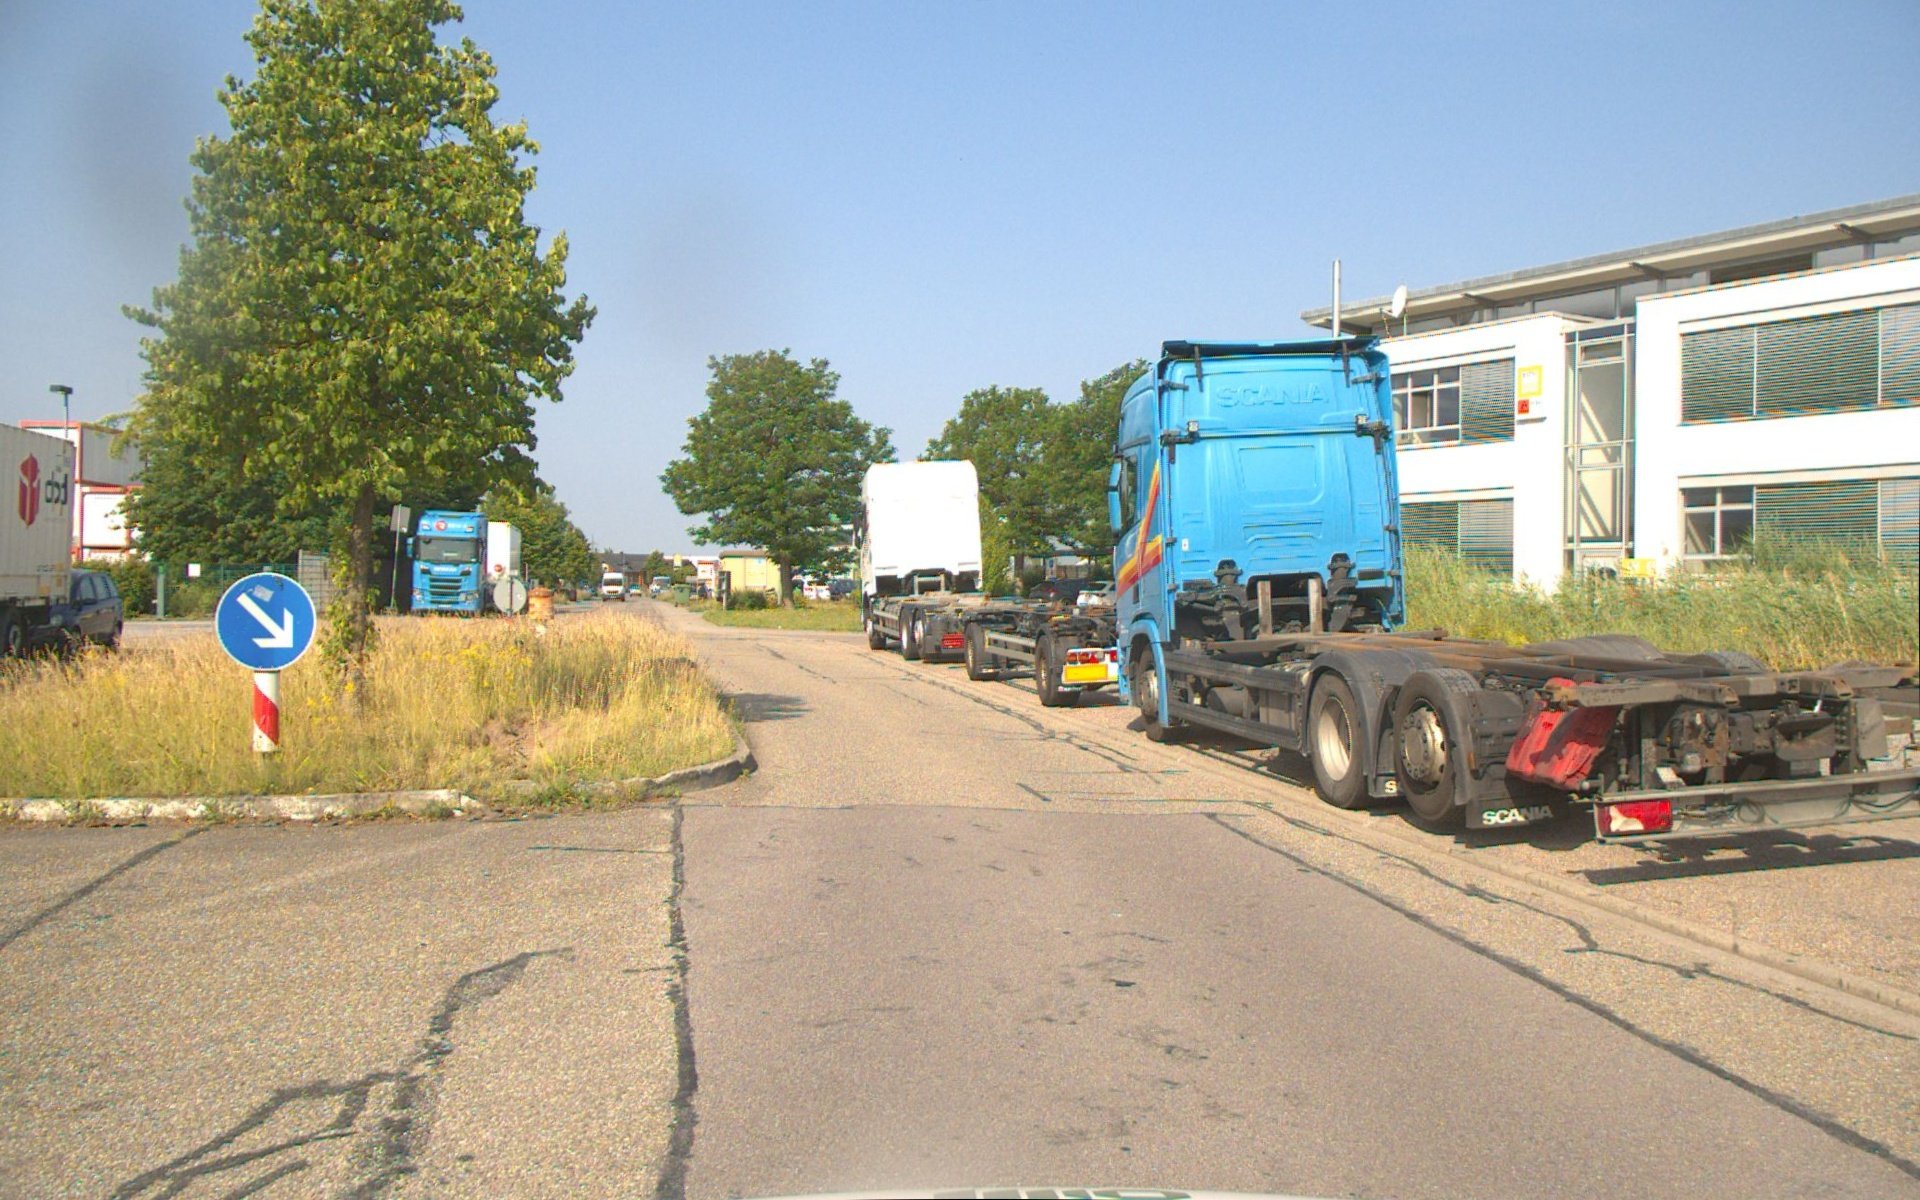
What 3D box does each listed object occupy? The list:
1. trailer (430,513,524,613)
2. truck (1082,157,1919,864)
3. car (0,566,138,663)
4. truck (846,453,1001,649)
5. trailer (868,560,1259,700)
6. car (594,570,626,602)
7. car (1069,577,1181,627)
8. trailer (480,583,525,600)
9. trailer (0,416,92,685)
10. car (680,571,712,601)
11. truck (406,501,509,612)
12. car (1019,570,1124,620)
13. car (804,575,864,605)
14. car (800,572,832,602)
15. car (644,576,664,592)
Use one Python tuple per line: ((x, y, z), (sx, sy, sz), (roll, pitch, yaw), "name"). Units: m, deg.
((-21.123, -1.458, 72.866), (2.781, 3.910, 12.001), (2, -1, -11), "trailer")
((3.681, -0.505, 13.499), (2.836, 3.596, 9.730), (-3, 0, -10), "truck")
((-17.216, 0.229, 31.238), (1.959, 1.669, 4.573), (2, 0, -13), "car")
((-0.891, -1.063, 36.941), (2.697, 4.051, 3.989), (-2, 1, -11), "truck")
((0.852, 0.293, 28.079), (2.697, 1.601, 16.129), (-2, 1, -11), "trailer")
((-31.599, -1.231, 149.119), (2.179, 2.733, 6.820), (2, -1, -17), "car")
((6.305, 0.082, 63.074), (4.036, 1.731, 1.746), (3, -1, -33), "car")
((-22.046, -0.402, 79.803), (1.863, 0.774, 3.988), (1, 0, -12), "trailer")
((-15.602, -0.770, 24.545), (2.652, 3.990, 7.553), (2, -1, -12), "trailer")
((-17.002, -0.859, 106.400), (1.760, 1.780, 3.988), (2, -1, -12), "car")
((-19.520, -1.531, 64.727), (2.775, 3.893, 9.645), (2, -1, -11), "truck")
((4.456, -0.190, 65.755), (3.966, 1.798, 1.969), (3, -1, -42), "car")
((-6.166, -0.485, 80.698), (1.648, 1.353, 3.631), (3, -1, -27), "car")
((-8.659, -0.742, 99.305), (1.685, 1.646, 3.993), (2, -1, -8), "car")
((-37.867, -1.991, 204.584), (1.745, 1.847, 3.975), (2, -1, -21), "car")
